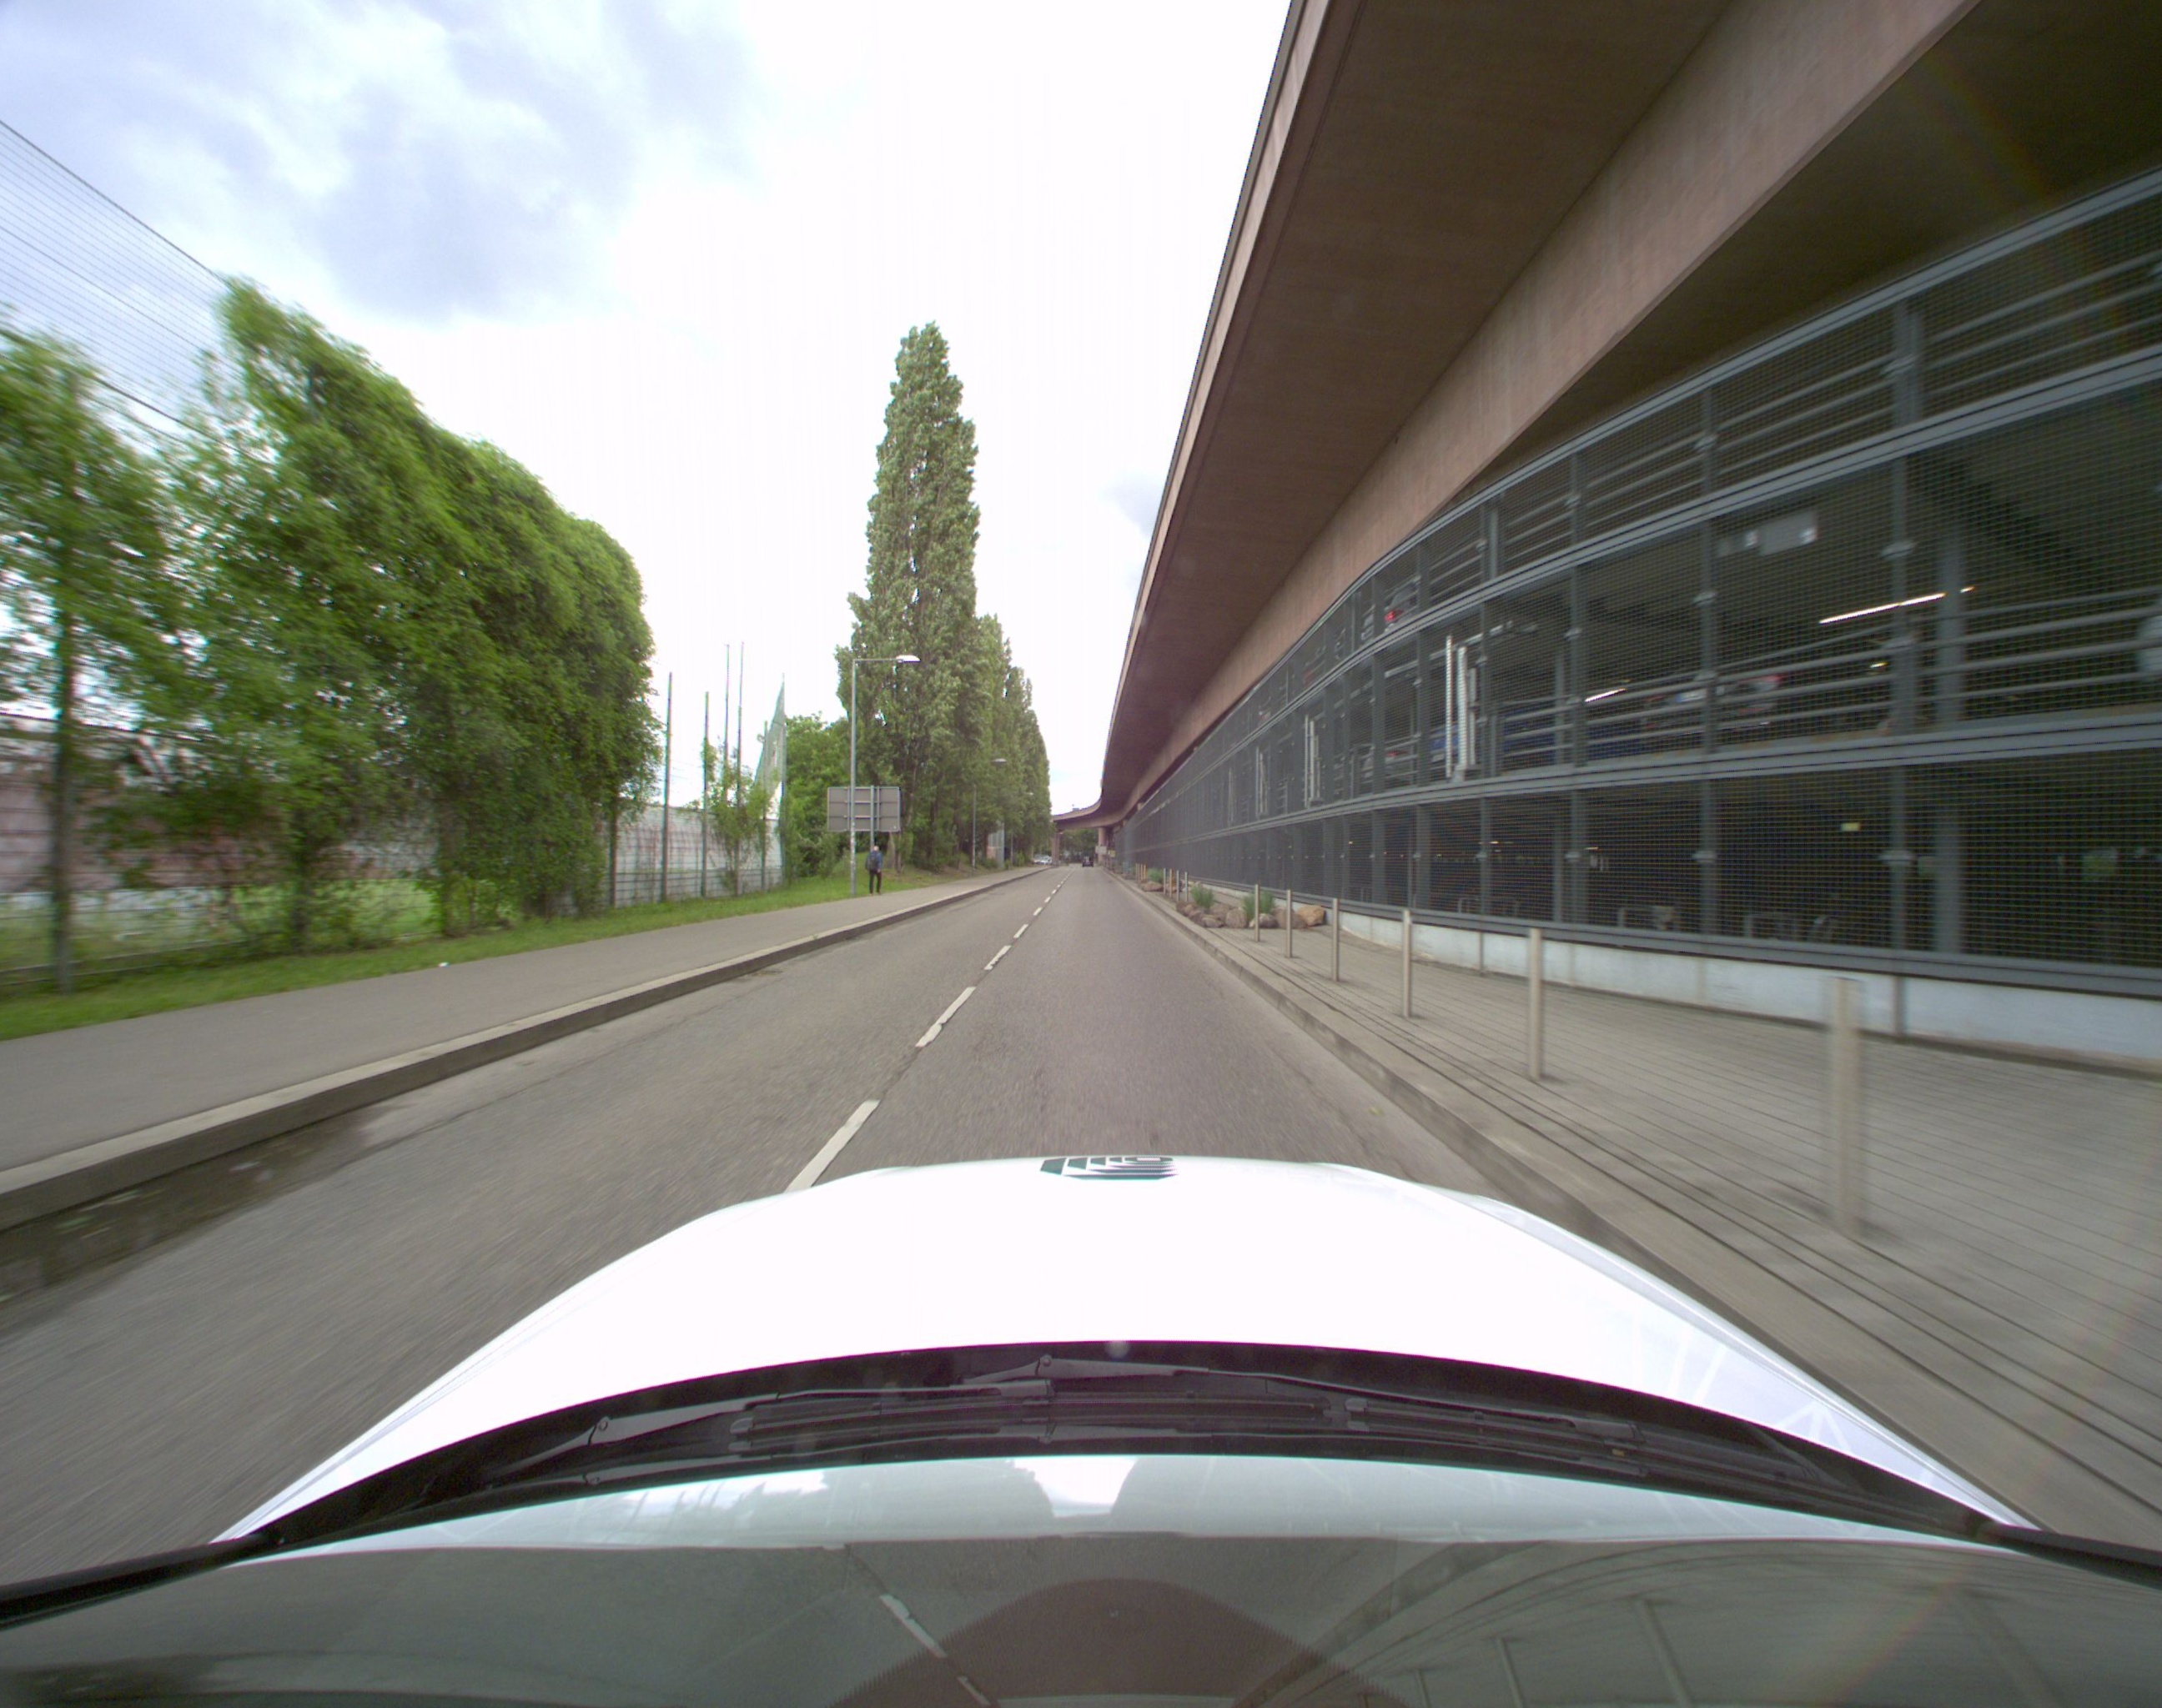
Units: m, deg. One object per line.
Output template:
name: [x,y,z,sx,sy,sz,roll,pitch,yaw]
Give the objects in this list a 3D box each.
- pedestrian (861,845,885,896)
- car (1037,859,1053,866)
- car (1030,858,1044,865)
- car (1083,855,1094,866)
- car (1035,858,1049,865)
pedestrian: [-7.471,0.566,29.287,0.805,1.781,0.916,0,1,-14]
car: [-9.112,2.071,206.993,1.862,1.716,4.179,1,1,41]
car: [-11.552,1.893,214.980,1.703,1.716,3.695,1,1,41]
car: [1.228,1.068,133.751,1.833,1.711,3.706,0,1,0]
car: [-10.166,1.988,211.424,1.703,1.716,3.695,1,1,41]
